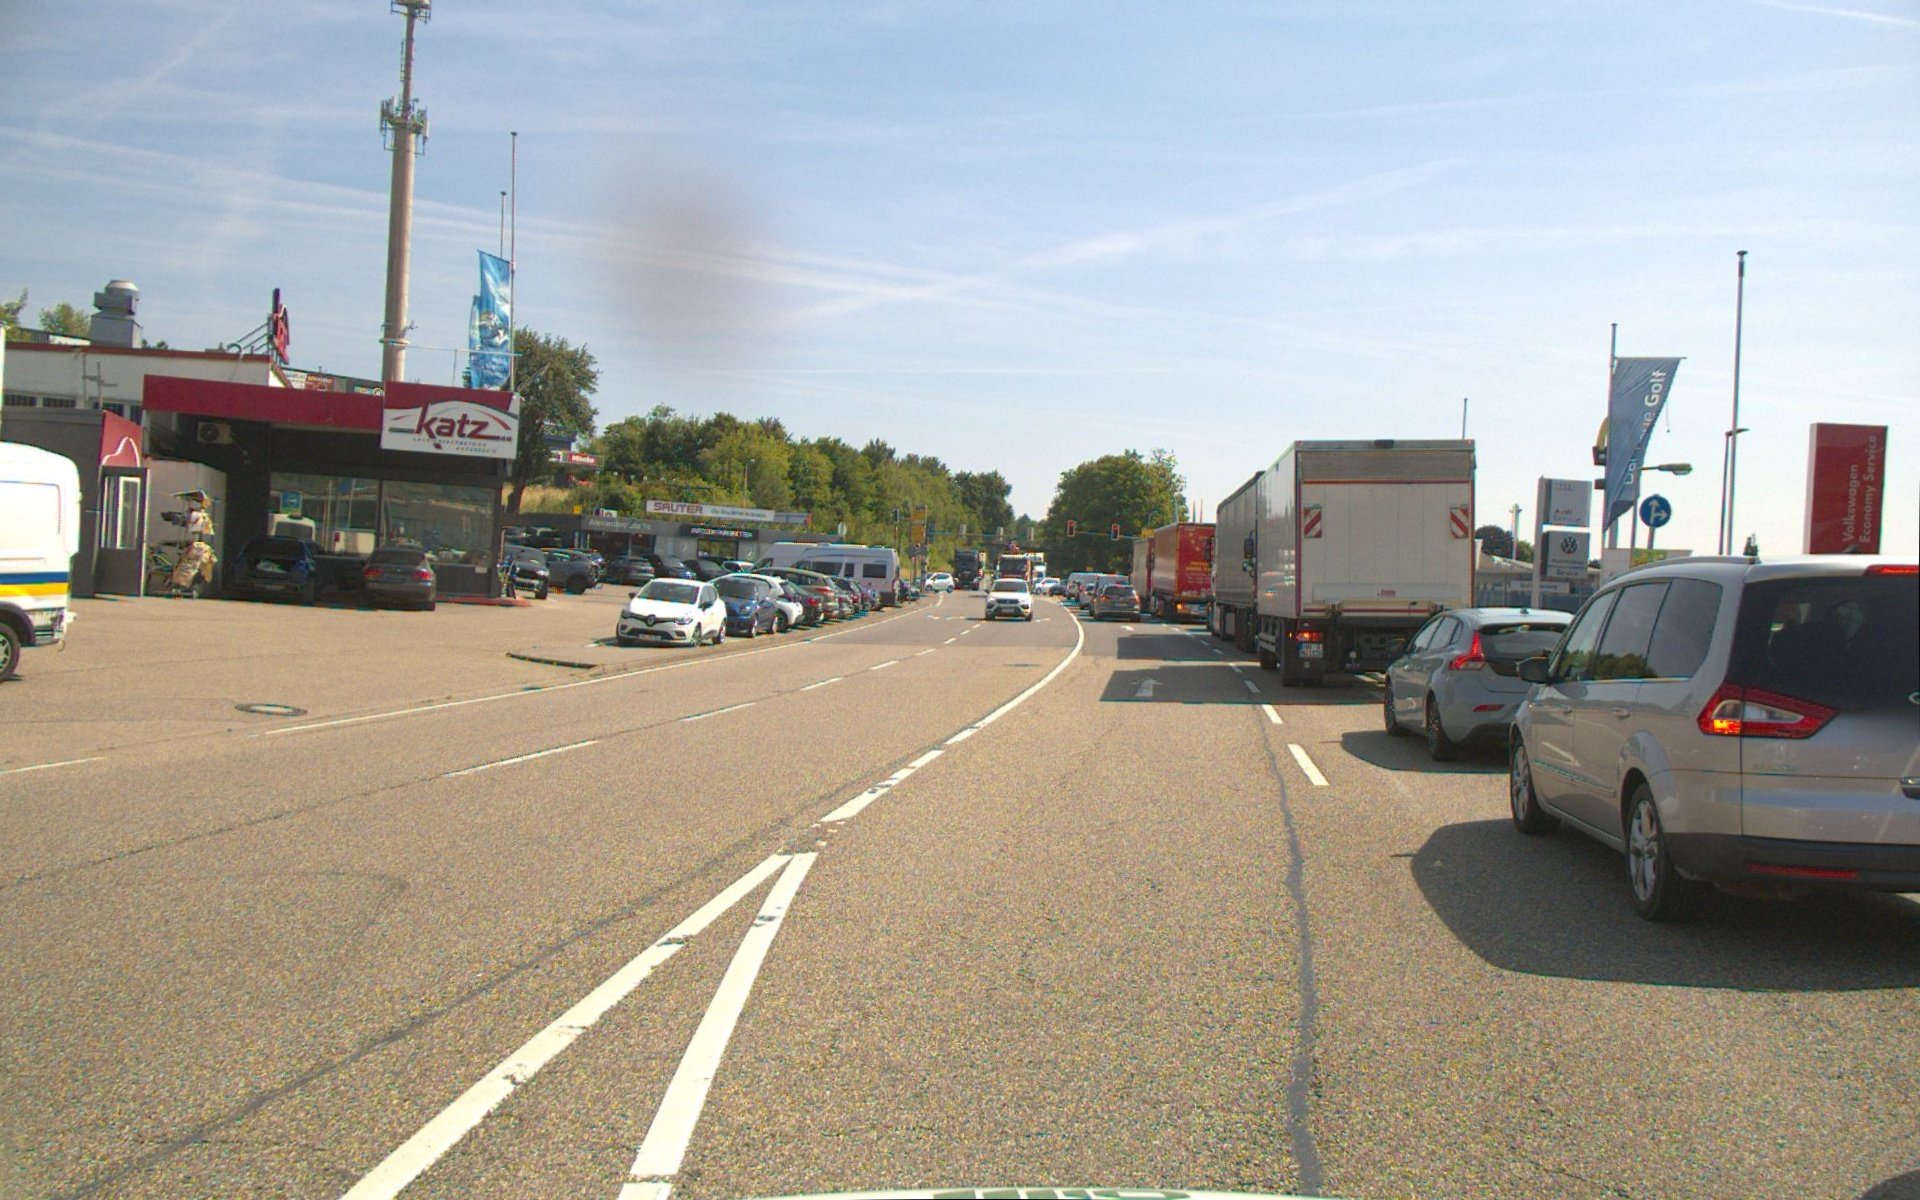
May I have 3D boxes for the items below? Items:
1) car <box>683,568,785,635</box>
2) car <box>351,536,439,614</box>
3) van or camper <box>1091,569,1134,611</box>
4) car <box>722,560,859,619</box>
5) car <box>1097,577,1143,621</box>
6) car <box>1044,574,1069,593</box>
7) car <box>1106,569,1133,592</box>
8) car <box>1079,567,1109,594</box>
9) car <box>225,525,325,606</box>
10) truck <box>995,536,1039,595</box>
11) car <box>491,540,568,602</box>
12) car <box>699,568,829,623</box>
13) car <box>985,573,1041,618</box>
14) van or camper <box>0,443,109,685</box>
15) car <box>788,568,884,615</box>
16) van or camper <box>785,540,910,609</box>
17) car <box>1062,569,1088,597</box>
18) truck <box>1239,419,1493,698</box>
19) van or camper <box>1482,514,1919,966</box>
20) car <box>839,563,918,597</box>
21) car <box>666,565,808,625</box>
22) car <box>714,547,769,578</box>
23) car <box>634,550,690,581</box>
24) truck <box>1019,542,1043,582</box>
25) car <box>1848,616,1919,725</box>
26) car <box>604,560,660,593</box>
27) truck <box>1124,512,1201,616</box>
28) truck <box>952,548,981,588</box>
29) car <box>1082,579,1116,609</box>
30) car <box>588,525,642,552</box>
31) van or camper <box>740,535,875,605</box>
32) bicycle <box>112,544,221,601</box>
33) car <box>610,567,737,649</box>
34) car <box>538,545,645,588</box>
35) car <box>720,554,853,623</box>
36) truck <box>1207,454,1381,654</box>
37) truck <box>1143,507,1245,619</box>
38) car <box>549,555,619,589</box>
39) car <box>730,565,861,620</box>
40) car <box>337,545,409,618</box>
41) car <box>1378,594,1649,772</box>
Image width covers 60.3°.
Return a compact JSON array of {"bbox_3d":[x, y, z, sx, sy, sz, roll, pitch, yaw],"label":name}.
[{"bbox_3d":[-5.950,0.017,43.998,1.742,1.519,3.784,6,1,5],"label":"car"},{"bbox_3d":[-13.680,-0.654,40.178,1.825,1.530,4.375,4,2,-18],"label":"car"},{"bbox_3d":[7.426,-0.510,80.729,1.814,1.939,3.786,2,1,2],"label":"van or camper"},{"bbox_3d":[-5.589,-0.367,54.933,4.190,1.510,1.837,6,1,1],"label":"car"},{"bbox_3d":[6.406,-0.067,66.106,1.752,1.667,3.506,1,1,6],"label":"car"},{"bbox_3d":[8.148,-1.393,139.818,1.768,1.587,4.391,1,1,7],"label":"car"},{"bbox_3d":[11.468,-1.400,119.307,1.691,1.545,3.313,3,0,3],"label":"car"},{"bbox_3d":[7.994,-1.148,98.812,1.691,1.545,3.314,2,0,3],"label":"car"},{"bbox_3d":[-16.036,-0.845,38.883,1.826,1.530,3.979,6,2,-20],"label":"car"},{"bbox_3d":[4.363,-2.561,125.130,2.894,4.282,10.653,0,1,4],"label":"truck"},{"bbox_3d":[-13.953,-0.923,53.502,1.796,1.703,4.101,7,-2,-21],"label":"car"},{"bbox_3d":[-5.862,-0.144,49.703,3.631,1.552,1.793,1,1,1],"label":"car"},{"bbox_3d":[2.112,-0.194,64.825,1.894,1.703,4.003,0,0,6],"label":"car"},{"bbox_3d":[-11.566,-0.482,16.063,2.110,2.541,5.952,6,2,18],"label":"van or camper"},{"bbox_3d":[-5.022,-0.360,67.243,3.632,1.510,1.708,6,1,1],"label":"car"},{"bbox_3d":[-4.915,-1.134,72.999,5.135,2.779,2.212,2,1,4],"label":"van or camper"},{"bbox_3d":[8.437,-1.222,121.483,1.690,1.942,3.314,2,0,6],"label":"car"},{"bbox_3d":[6.706,-0.665,29.095,2.818,3.877,11.150,2,1,6],"label":"truck"},{"bbox_3d":[4.307,0.573,9.307,1.709,1.818,5.137,2,1,8],"label":"van or camper"},{"bbox_3d":[-4.084,-0.995,83.079,3.737,1.566,1.843,2,1,2],"label":"car"},{"bbox_3d":[-6.329,-0.163,47.201,3.717,1.552,1.847,2,1,1],"label":"car"},{"bbox_3d":[-12.014,-2.063,90.780,1.744,1.616,3.792,1,1,-29],"label":"car"},{"bbox_3d":[-15.863,-1.847,87.982,1.744,1.616,3.792,1,1,-29],"label":"car"},{"bbox_3d":[8.086,-4.284,187.637,2.499,4.382,7.599,1,1,3],"label":"truck"},{"bbox_3d":[14.351,0.954,22.978,3.527,1.434,1.556,0,0,-18],"label":"car"},{"bbox_3d":[-17.098,-1.239,86.051,1.744,1.616,3.792,1,1,-29],"label":"car"},{"bbox_3d":[11.417,-2.021,94.803,2.999,5.311,17.015,2,1,3],"label":"truck"},{"bbox_3d":[0.610,-3.179,164.286,2.755,3.852,6.989,0,1,-1],"label":"truck"},{"bbox_3d":[7.570,-0.326,90.211,1.691,1.545,3.314,2,0,4],"label":"car"},{"bbox_3d":[-20.609,-3.681,98.650,1.718,1.476,3.699,2,0,-37],"label":"car"},{"bbox_3d":[-6.911,-1.403,75.532,5.769,2.923,2.291,2,1,3],"label":"van or camper"},{"bbox_3d":[-16.810,-0.581,35.069,1.962,0.988,0.413,7,-1,-18],"label":"bicycle"},{"bbox_3d":[-6.334,0.146,36.977,1.742,1.646,4.003,2,1,5],"label":"car"},{"bbox_3d":[-14.371,-1.307,64.499,3.879,1.559,1.759,1,1,-20],"label":"car"},{"bbox_3d":[-5.421,-0.368,52.083,3.807,1.745,1.807,6,1,1],"label":"car"},{"bbox_3d":[8.632,-1.115,44.959,2.829,4.340,16.721,2,1,6],"label":"truck"},{"bbox_3d":[10.243,-1.618,74.210,2.895,4.343,16.592,2,1,3],"label":"truck"},{"bbox_3d":[-19.479,-1.460,85.622,3.764,1.616,1.757,2,1,44],"label":"car"},{"bbox_3d":[-5.870,-0.281,59.419,4.368,1.510,1.772,6,1,1],"label":"car"},{"bbox_3d":[-16.304,-0.551,45.835,1.675,1.789,3.738,5,0,-21],"label":"car"},{"bbox_3d":[5.357,0.716,16.545,1.698,1.453,4.228,2,1,7],"label":"car"}]
